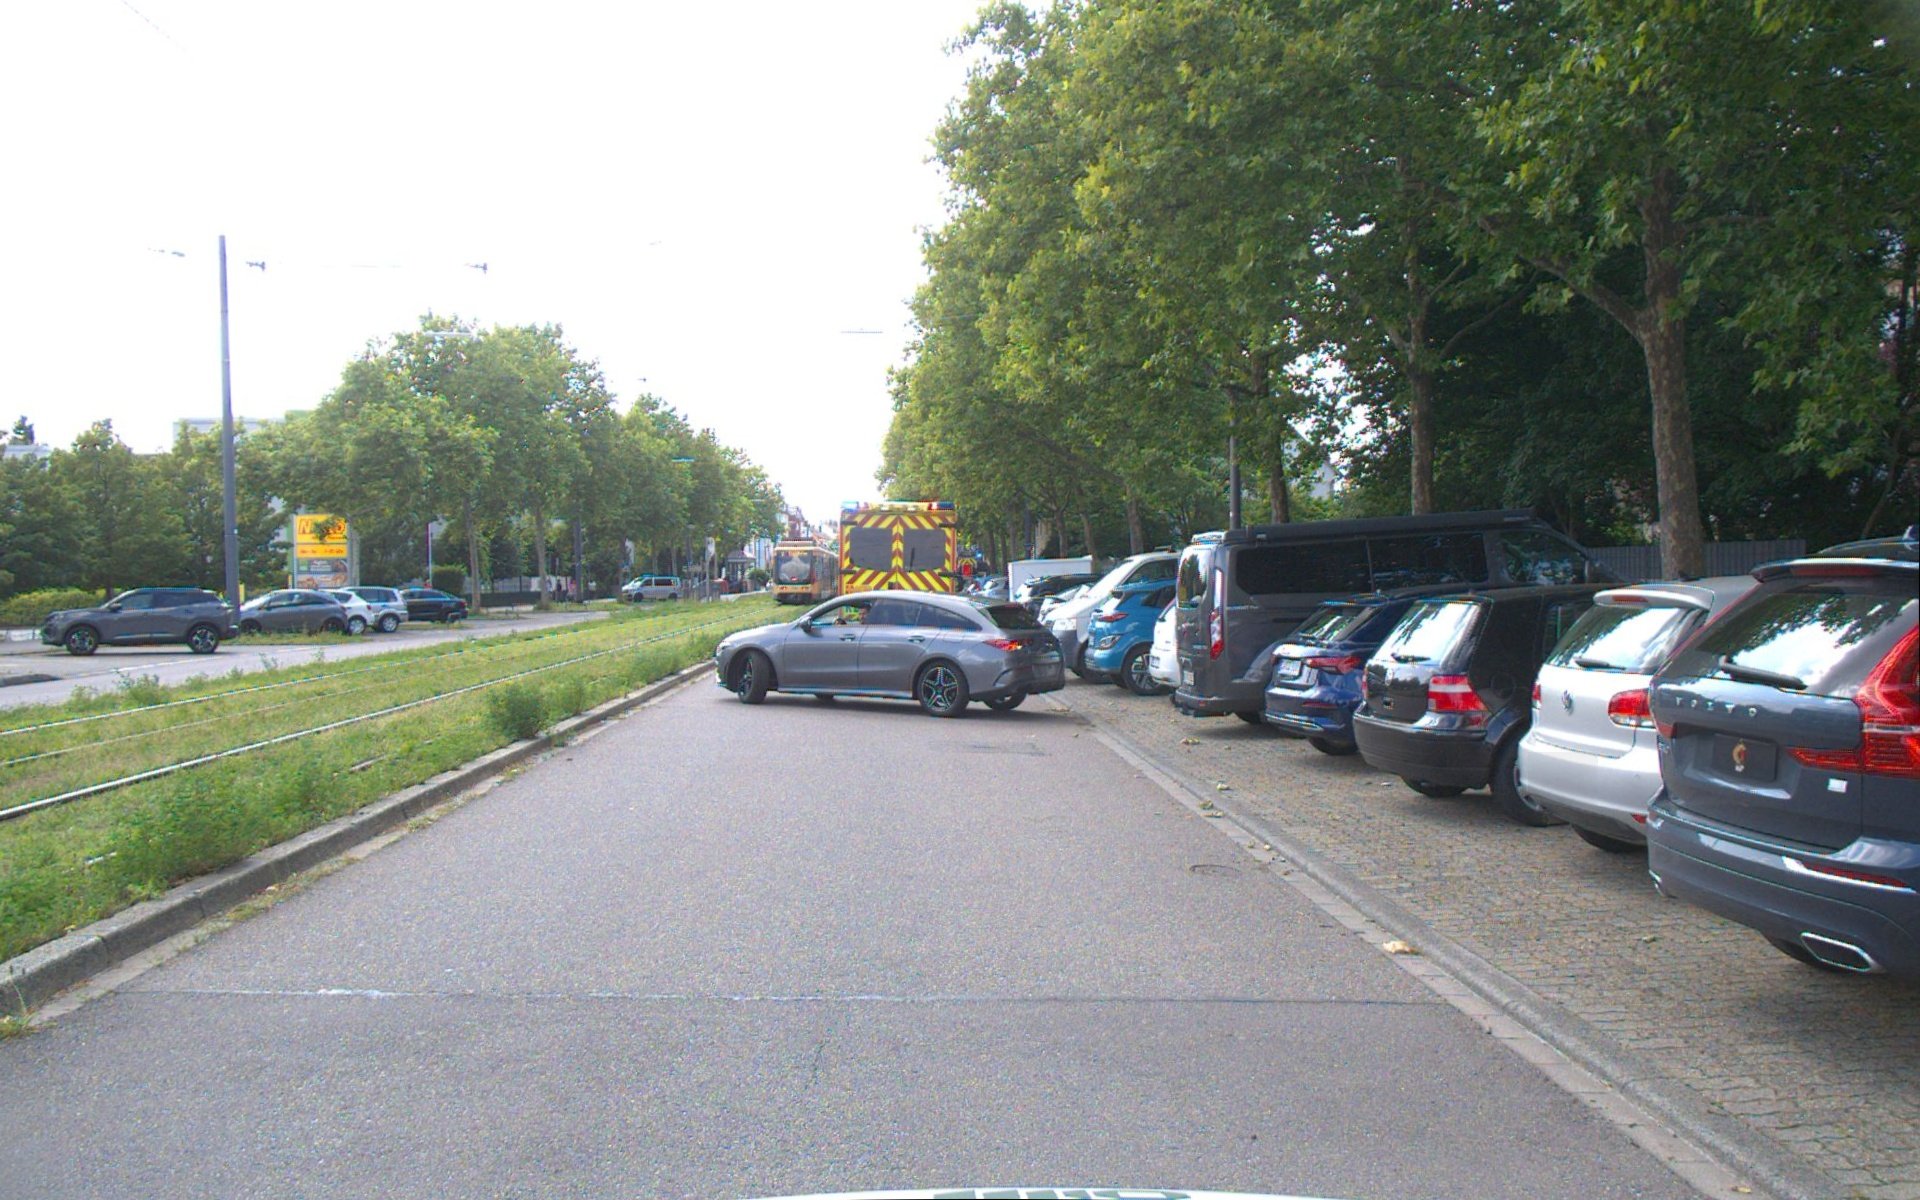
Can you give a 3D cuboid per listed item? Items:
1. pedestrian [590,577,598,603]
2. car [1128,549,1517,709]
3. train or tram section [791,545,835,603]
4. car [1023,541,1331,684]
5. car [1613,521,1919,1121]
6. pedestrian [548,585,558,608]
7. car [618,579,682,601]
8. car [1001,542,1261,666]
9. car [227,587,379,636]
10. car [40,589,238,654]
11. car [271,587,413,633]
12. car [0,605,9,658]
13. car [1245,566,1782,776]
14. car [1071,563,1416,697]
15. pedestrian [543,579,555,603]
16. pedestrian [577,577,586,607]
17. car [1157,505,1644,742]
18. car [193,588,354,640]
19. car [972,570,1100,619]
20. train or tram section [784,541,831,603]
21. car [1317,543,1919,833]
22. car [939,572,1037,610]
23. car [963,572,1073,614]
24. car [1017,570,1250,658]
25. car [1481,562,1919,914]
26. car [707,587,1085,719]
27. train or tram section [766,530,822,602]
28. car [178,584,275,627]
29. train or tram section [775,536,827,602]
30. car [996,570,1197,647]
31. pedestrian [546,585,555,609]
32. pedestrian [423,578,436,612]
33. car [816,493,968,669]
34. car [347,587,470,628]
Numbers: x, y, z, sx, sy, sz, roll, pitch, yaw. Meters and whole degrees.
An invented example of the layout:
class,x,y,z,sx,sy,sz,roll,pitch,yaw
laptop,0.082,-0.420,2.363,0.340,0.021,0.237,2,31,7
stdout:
class,x,y,z,sx,sy,sz,roll,pitch,yaw
pedestrian,-26.817,-0.719,121.096,0.457,1.860,0.422,-1,0,-4
car,4.501,0.336,20.971,4.455,1.797,1.855,-2,1,-3
train or tram section,-9.825,-1.689,110.896,2.462,3.646,7.441,-2,0,-3
car,3.344,0.172,25.993,4.458,2.035,1.853,-2,1,-6
car,4.682,0.544,5.517,4.292,1.668,1.756,-2,1,-1
pedestrian,-25.595,-0.203,104.083,0.412,1.439,0.467,-1,0,22
car,-24.058,-0.769,128.585,4.588,1.661,1.855,-2,1,-42
car,3.117,0.059,30.580,4.458,2.079,1.853,-2,0,-6
car,-21.002,0.338,52.910,4.192,1.508,1.858,0,0,-38
car,-19.754,0.497,39.921,4.171,1.508,1.867,0,0,-27
car,-20.880,0.325,55.947,4.192,1.508,1.858,0,0,-38
car,-31.104,0.919,49.769,3.905,1.592,1.777,1,0,0
car,4.523,0.550,13.885,3.886,1.520,1.755,-2,0,-3
car,3.963,0.389,23.483,4.459,1.689,1.853,-2,1,-7
pedestrian,-27.500,-0.586,110.687,0.620,1.578,0.621,-1,0,-5
pedestrian,-22.489,-0.482,98.273,0.413,1.760,0.467,-1,0,-7
car,4.411,0.210,17.005,4.455,2.160,1.855,-2,0,-3
car,-20.723,0.405,50.001,4.192,1.508,1.858,0,0,-38
car,2.777,-0.207,60.769,4.458,1.636,1.853,-2,1,-6
train or tram section,-9.503,-1.708,103.463,2.462,3.646,7.441,-2,0,-3
car,4.585,0.495,11.088,3.897,1.633,1.750,-2,1,-13
car,1.297,-0.439,78.800,4.458,1.636,1.853,-2,1,-6
car,2.451,-0.311,70.610,4.458,1.636,1.853,-2,1,-6
car,3.536,0.267,34.072,4.458,1.636,1.853,-2,1,-6
car,4.875,0.575,8.372,3.886,1.520,1.755,-2,1,-3
car,-0.817,0.592,20.458,4.368,1.409,1.764,2,0,28
train or tram section,-8.838,-1.746,88.607,2.462,3.646,7.441,-2,0,-3
car,-32.396,0.233,73.032,3.912,1.780,1.997,2,1,29
train or tram section,-9.174,-1.727,96.028,2.462,3.646,7.441,-2,0,-3
car,3.188,0.188,39.217,4.458,1.636,1.853,-2,1,-6
pedestrian,-25.318,-0.178,102.259,0.413,1.499,0.467,-1,0,-7
pedestrian,-26.445,-0.255,82.522,0.457,1.706,0.603,-1,0,-4
car,-1.240,-0.350,32.419,2.588,3.018,6.298,2,0,-1
car,-21.359,0.275,64.136,4.199,1.508,1.854,0,0,-42
